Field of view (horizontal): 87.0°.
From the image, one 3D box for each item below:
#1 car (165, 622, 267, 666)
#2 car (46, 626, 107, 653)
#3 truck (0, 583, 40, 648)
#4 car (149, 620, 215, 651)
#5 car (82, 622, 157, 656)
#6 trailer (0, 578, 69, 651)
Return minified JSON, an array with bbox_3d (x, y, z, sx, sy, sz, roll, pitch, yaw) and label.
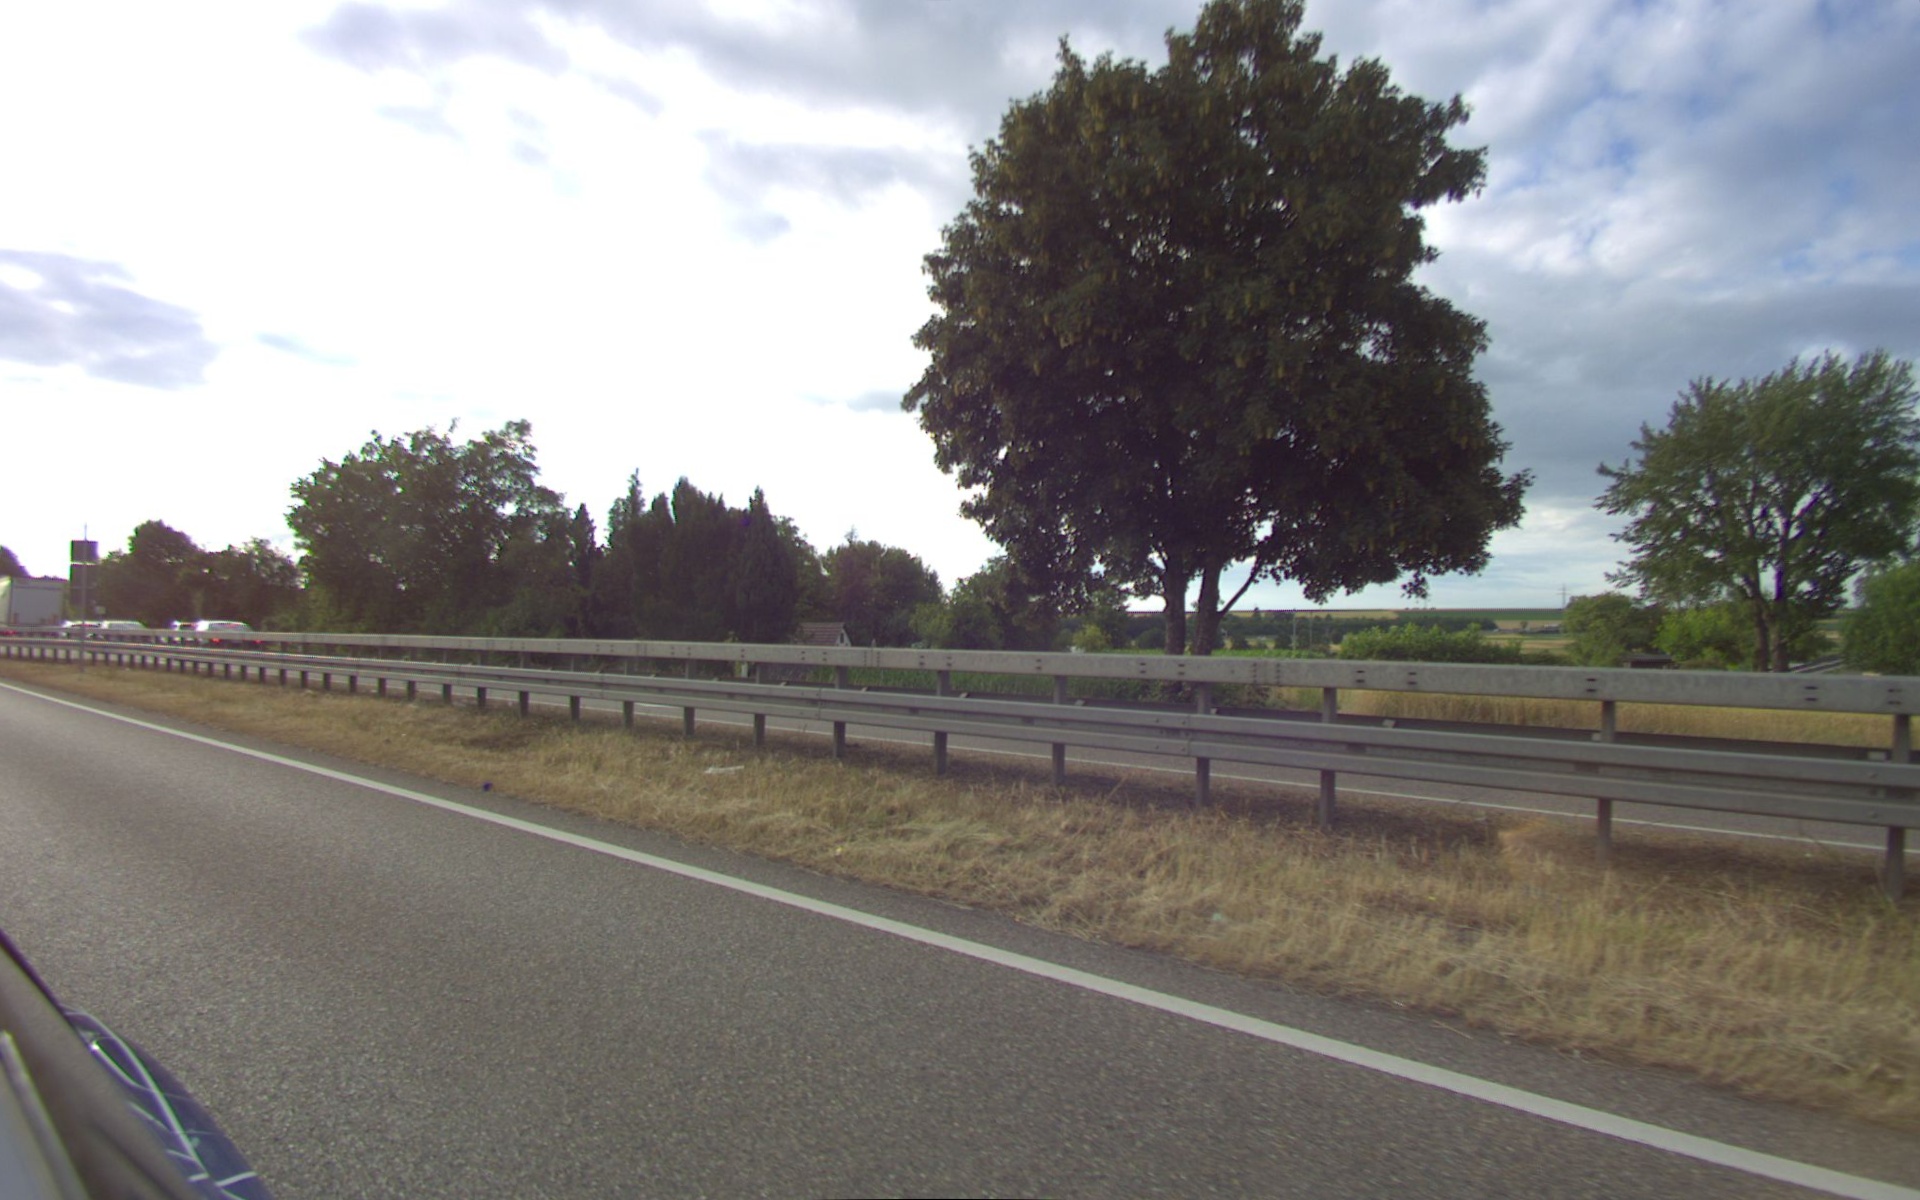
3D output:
[{"bbox_3d":[-27.038,1.559,36.723,4.931,1.489,1.848,-1,-3,40],"label":"car"},{"bbox_3d":[-46.986,2.084,53.791,4.157,1.396,1.771,-1,-3,40],"label":"car"},{"bbox_3d":[-64.794,1.053,68.008,6.044,4.182,3.439,-1,-4,40],"label":"truck"},{"bbox_3d":[-40.622,1.859,52.823,4.148,1.576,1.848,-1,-3,40],"label":"car"},{"bbox_3d":[-39.349,1.815,47.336,4.821,1.489,1.848,-1,-3,40],"label":"car"},{"bbox_3d":[-60.215,0.979,64.151,13.905,4.182,3.430,-1,-4,40],"label":"trailer"}]
